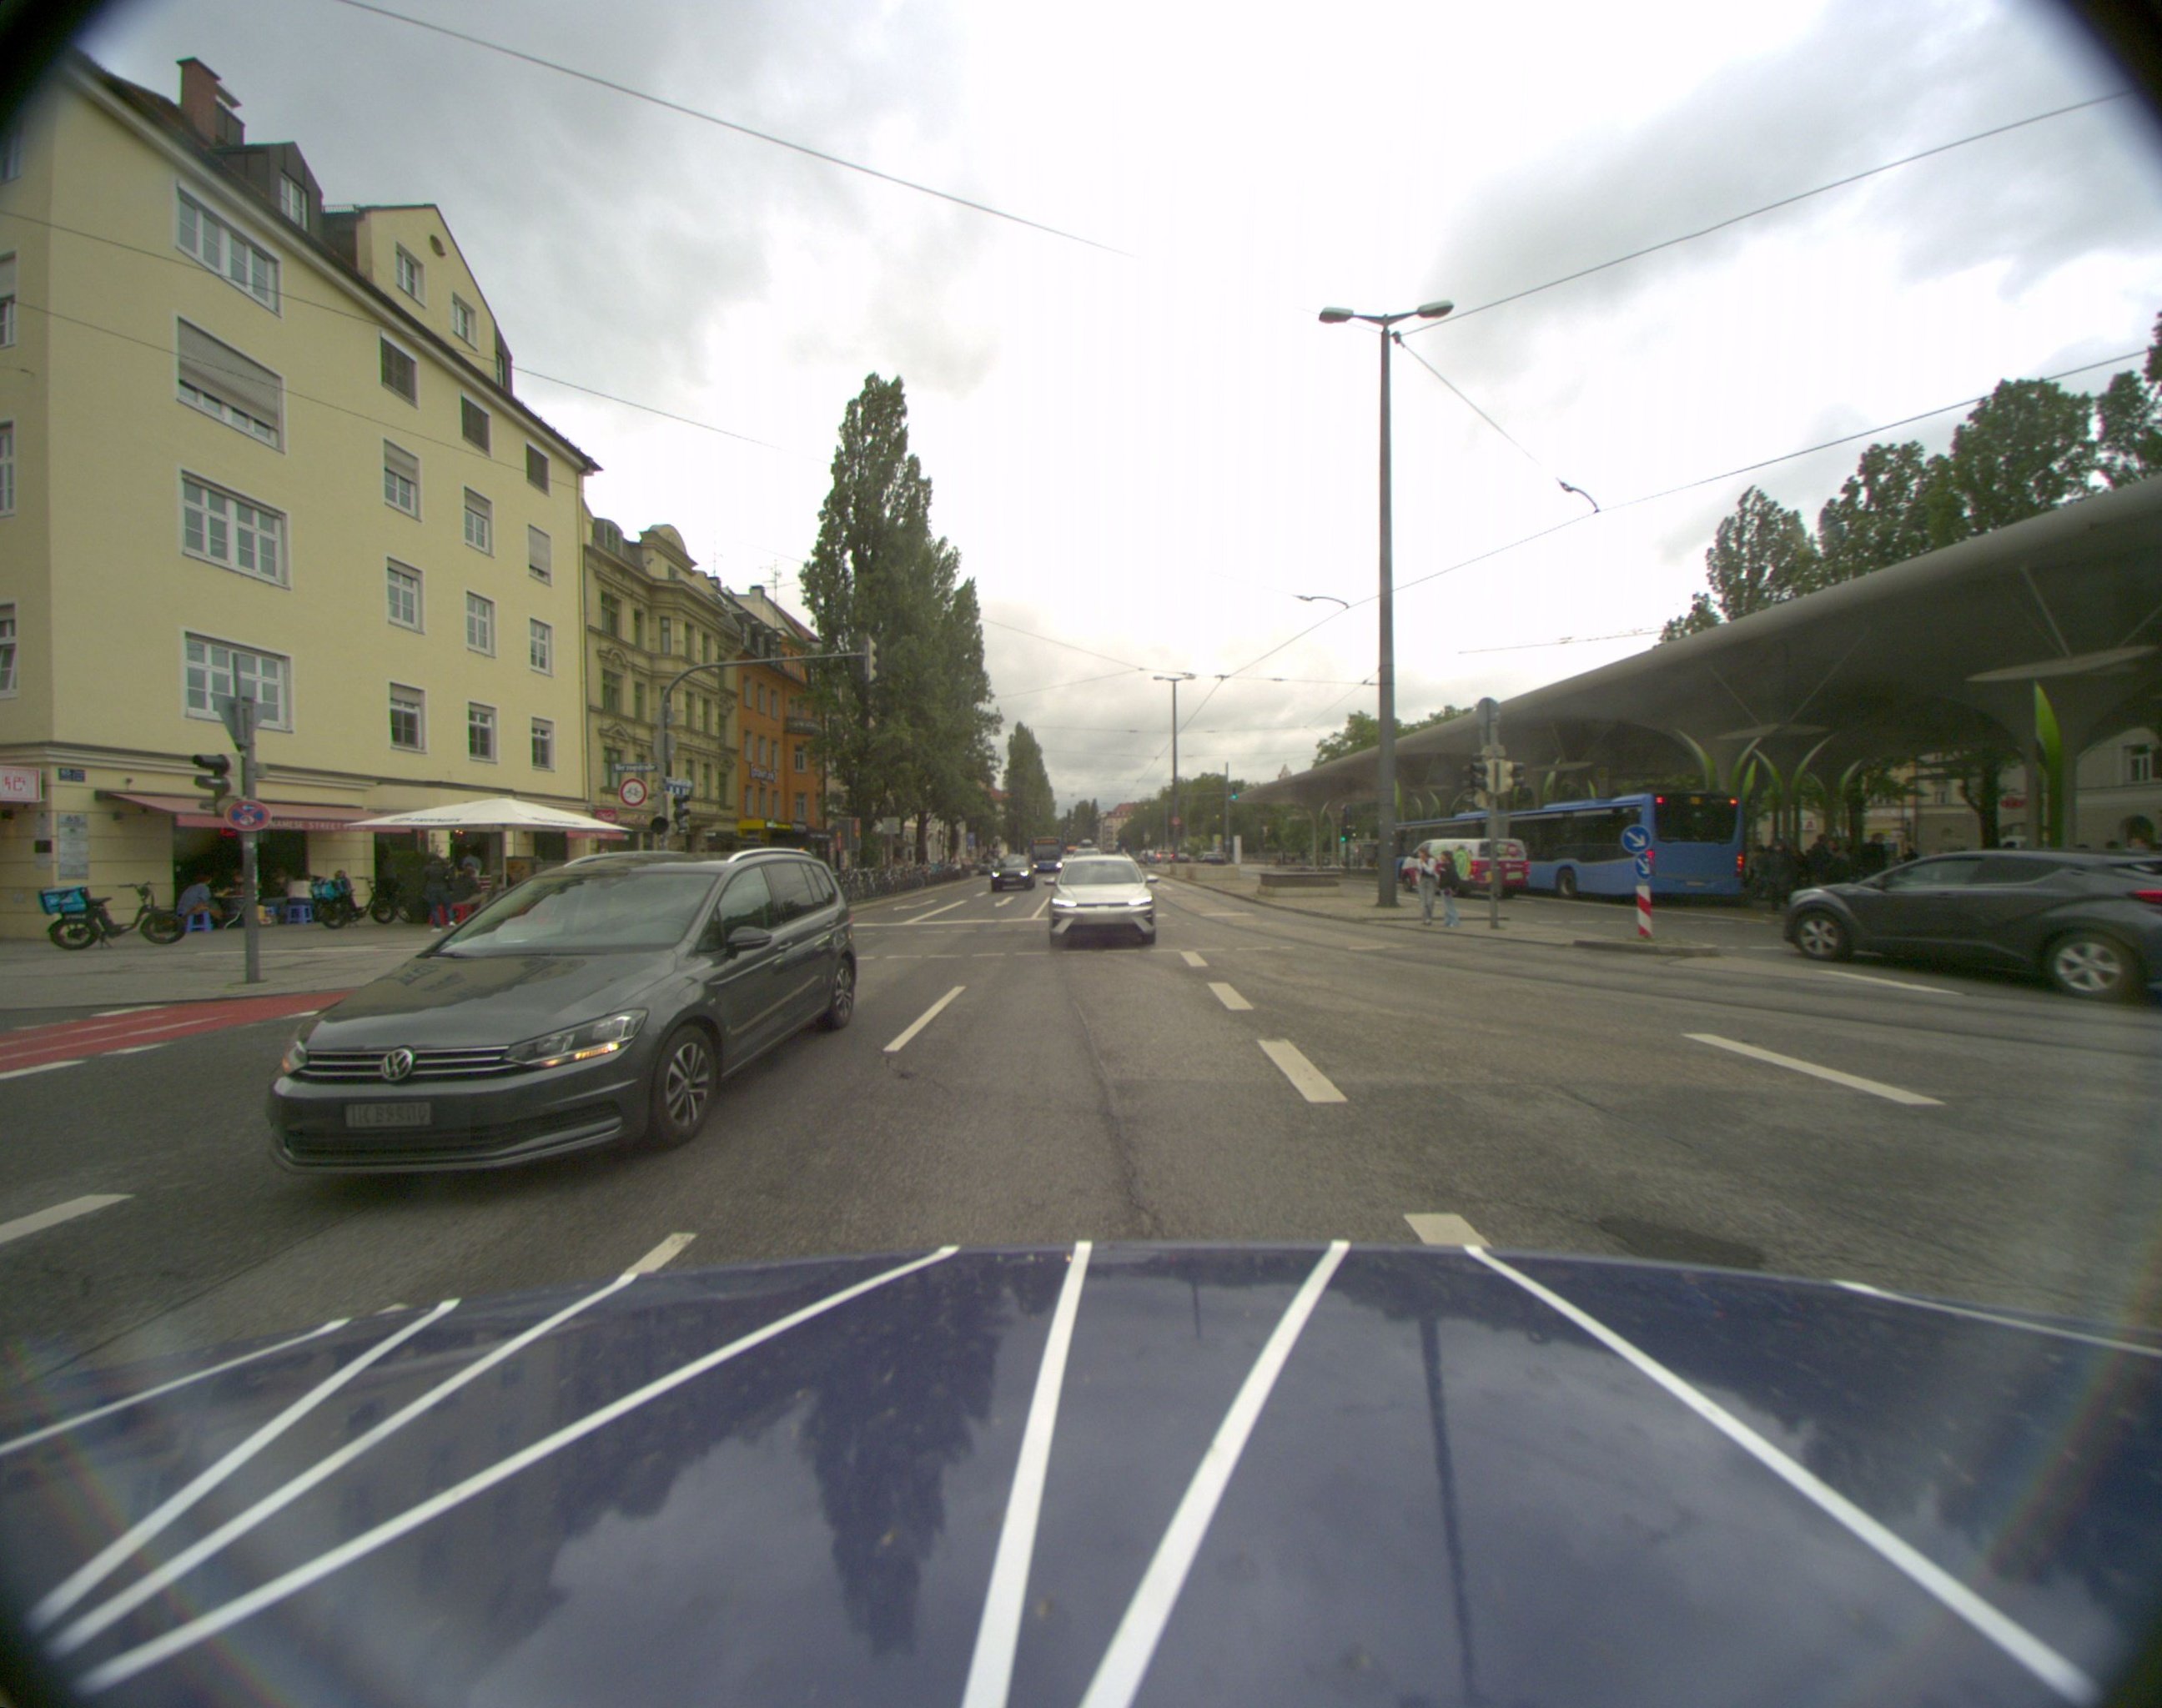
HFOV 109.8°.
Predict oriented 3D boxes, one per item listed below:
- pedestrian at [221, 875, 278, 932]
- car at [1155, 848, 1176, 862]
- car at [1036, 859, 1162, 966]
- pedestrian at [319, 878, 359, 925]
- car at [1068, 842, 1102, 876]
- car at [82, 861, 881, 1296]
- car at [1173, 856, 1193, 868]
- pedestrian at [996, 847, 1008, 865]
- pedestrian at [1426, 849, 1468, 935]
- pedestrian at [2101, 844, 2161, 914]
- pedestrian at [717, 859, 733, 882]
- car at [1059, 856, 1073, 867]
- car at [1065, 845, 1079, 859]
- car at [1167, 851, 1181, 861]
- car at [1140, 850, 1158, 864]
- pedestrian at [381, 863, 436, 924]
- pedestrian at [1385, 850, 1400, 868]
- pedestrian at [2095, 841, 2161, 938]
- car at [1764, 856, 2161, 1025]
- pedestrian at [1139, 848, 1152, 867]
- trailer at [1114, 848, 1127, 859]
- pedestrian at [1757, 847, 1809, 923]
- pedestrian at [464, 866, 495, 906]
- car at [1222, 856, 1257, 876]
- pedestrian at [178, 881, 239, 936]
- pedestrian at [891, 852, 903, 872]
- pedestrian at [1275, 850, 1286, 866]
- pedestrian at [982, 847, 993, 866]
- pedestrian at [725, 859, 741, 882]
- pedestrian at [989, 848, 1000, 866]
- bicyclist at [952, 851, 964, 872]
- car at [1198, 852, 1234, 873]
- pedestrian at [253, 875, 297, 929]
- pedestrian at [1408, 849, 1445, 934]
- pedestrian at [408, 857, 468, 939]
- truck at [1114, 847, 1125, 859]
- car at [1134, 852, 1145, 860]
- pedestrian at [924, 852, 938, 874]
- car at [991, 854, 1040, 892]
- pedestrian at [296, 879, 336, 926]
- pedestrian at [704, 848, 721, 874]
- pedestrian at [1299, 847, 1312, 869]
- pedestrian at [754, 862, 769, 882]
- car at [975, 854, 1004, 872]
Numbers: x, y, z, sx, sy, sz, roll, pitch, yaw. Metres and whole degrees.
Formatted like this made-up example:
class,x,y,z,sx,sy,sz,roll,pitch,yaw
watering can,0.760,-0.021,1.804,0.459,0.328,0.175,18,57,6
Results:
class,x,y,z,sx,sy,sz,roll,pitch,yaw
pedestrian,-19.553,1.147,17.878,0.515,1.284,0.703,-1,1,-1
car,11.837,0.164,106.944,2.181,1.876,6.155,0,0,-1
car,0.343,0.878,13.525,1.812,1.496,4.953,0,0,2
pedestrian,-19.284,1.226,19.750,0.479,1.159,0.527,-1,1,-1
car,0.252,0.300,48.068,1.998,2.100,4.000,0,0,0
car,-2.985,0.914,5.345,1.776,1.637,4.708,-1,0,1
car,12.112,0.901,90.137,1.677,1.370,4.612,0,1,-1
pedestrian,-7.711,0.212,74.105,0.881,1.791,0.757,-1,0,11
pedestrian,6.986,0.707,14.502,0.488,1.609,0.556,-1,1,-34
pedestrian,27.985,0.643,20.024,1.008,1.817,0.840,-1,1,5
pedestrian,-19.465,0.900,41.568,0.584,1.273,0.583,-1,1,0
car,-2.014,0.992,102.858,1.704,1.360,3.632,2,0,1
car,-1.963,-0.401,164.283,2.806,2.836,5.114,0,0,1
car,16.100,0.313,131.301,1.998,1.561,4.101,-1,0,0
car,8.859,0.374,99.051,1.791,1.844,4.217,0,0,-2
pedestrian,-17.713,1.026,20.034,0.732,1.532,0.890,-1,1,-14
pedestrian,30.633,0.497,74.690,1.031,1.752,0.957,-1,1,1
pedestrian,18.985,0.627,13.707,0.548,1.710,0.615,-1,1,8
car,10.618,0.807,8.707,1.668,1.499,4.281,1,0,-1
pedestrian,6.416,0.355,75.696,0.862,1.801,0.895,-2,2,-21
trailer,10.666,-0.105,204.573,2.616,2.666,15.639,1,0,0
pedestrian,15.926,0.673,17.241,0.839,1.671,0.975,0,1,45
pedestrian,-19.794,1.038,25.013,0.542,1.282,0.552,-1,1,1
car,12.012,0.884,57.687,1.682,1.387,4.232,0,0,-1
pedestrian,-19.569,1.219,17.052,0.515,1.175,0.703,-1,1,-1
pedestrian,-16.020,0.694,66.194,0.748,1.675,1.017,-1,1,1
pedestrian,20.415,0.443,77.845,0.739,1.619,0.741,-1,1,-20
pedestrian,-8.899,0.203,72.422,0.699,1.770,0.652,-1,0,34
pedestrian,-19.436,0.895,42.407,0.584,1.273,0.583,-1,1,0
pedestrian,-8.346,0.286,73.000,0.758,1.628,0.699,-1,0,-42
bicyclist,-9.445,0.556,58.304,0.681,1.594,0.939,-1,1,1
car,9.707,0.601,55.046,1.847,1.408,4.034,-1,0,-1
pedestrian,-19.793,1.164,18.664,0.479,1.291,0.527,-1,1,-1
pedestrian,6.748,0.717,14.836,0.520,1.609,0.465,0,1,44
pedestrian,-13.718,0.919,16.227,0.761,1.685,0.766,-1,1,-24
truck,10.705,-0.320,211.925,2.572,3.069,7.690,1,0,0
car,11.639,0.410,151.462,1.868,1.629,4.677,1,0,-1
pedestrian,-10.684,0.619,54.040,0.761,1.553,0.763,-1,0,2
car,-2.930,0.814,34.741,1.780,1.495,3.969,-3,1,0
pedestrian,-19.815,1.252,19.687,0.479,1.159,0.527,-1,1,-1
pedestrian,-20.632,0.380,42.600,0.626,1.466,0.583,-1,1,3
pedestrian,18.630,0.341,63.120,0.667,1.828,0.808,-1,1,-30
pedestrian,-19.487,1.096,46.350,0.624,1.211,0.583,-1,1,0
car,-7.864,0.780,65.581,1.999,1.432,4.528,-1,1,-1
